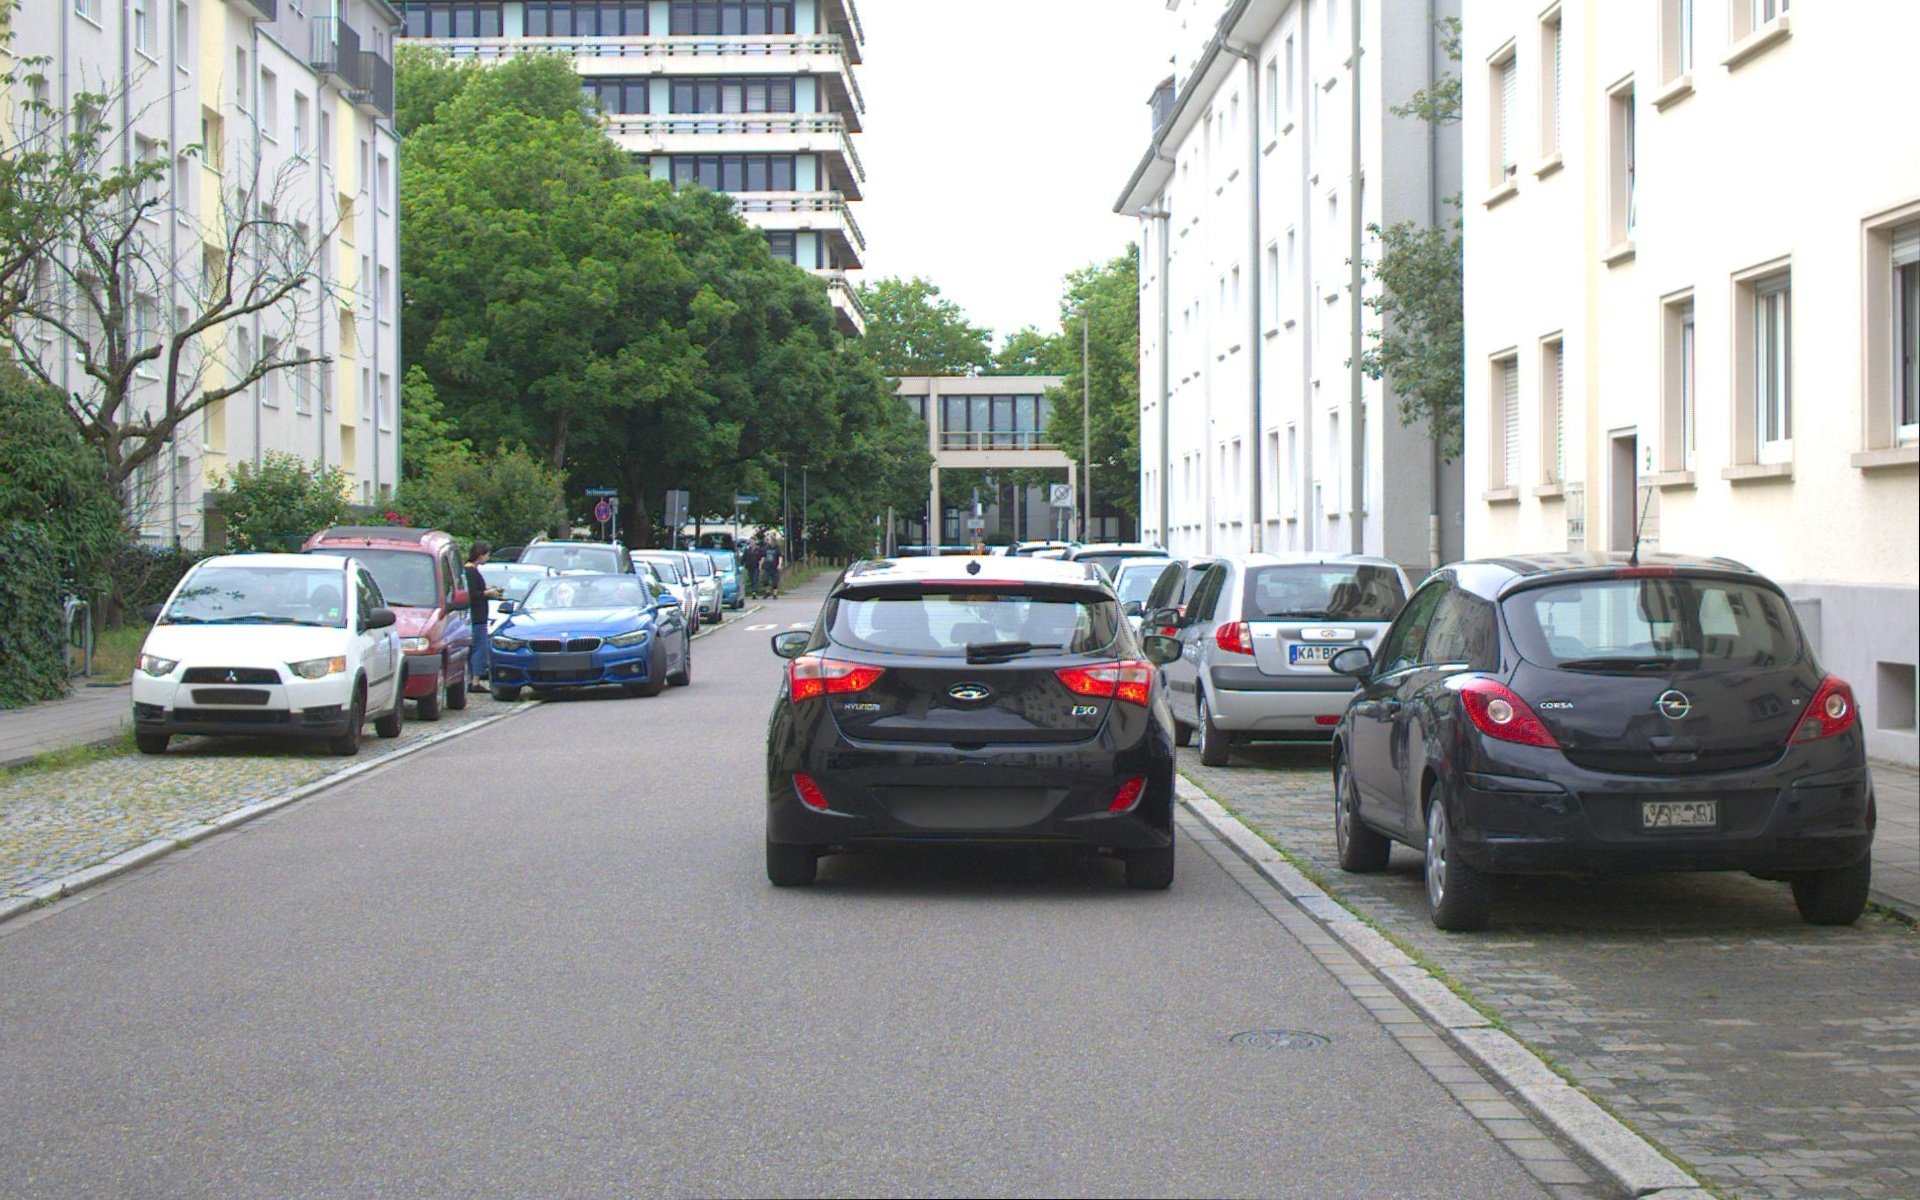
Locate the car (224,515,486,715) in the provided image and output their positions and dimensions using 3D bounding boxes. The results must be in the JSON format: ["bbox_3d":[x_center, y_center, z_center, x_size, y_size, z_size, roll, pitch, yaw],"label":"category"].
[{"bbox_3d":[-5.717,0.093,32.971,1.956,1.764,4.362,1,1,-3],"label":"car"}]

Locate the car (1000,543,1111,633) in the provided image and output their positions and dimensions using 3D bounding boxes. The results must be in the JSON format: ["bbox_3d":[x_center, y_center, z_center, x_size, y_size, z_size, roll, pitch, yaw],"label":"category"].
[{"bbox_3d":[1.646,-0.226,60.521,1.820,1.498,4.091,-1,1,0],"label":"car"}]

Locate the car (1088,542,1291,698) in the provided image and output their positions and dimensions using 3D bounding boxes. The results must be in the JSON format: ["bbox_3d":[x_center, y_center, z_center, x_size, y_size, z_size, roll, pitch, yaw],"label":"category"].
[{"bbox_3d":[2.287,0.156,35.257,1.725,1.471,4.505,0,1,-1],"label":"car"}]

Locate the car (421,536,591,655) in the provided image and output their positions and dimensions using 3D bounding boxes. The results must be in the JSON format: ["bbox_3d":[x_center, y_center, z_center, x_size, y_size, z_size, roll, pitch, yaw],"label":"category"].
[{"bbox_3d":[-5.848,-0.093,44.630,1.744,1.459,3.786,0,1,-1],"label":"car"}]

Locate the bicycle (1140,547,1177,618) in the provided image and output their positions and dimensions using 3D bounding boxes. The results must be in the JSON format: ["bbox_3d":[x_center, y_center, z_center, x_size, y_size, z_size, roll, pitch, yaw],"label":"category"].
[{"bbox_3d":[3.404,-0.305,58.811,0.530,1.171,2.036,-1,1,5],"label":"bicycle"}]

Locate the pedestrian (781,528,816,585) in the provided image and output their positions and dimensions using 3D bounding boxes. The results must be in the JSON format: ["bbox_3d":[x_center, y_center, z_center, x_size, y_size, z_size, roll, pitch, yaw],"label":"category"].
[{"bbox_3d":[-4.746,-1.281,101.218,0.972,1.648,0.981,0,1,0],"label":"pedestrian"}]

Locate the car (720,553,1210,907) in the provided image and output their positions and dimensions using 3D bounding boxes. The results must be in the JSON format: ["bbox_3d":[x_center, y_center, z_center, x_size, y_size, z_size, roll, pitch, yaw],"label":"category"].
[{"bbox_3d":[0.166,0.511,16.267,1.903,1.428,4.232,0,1,6],"label":"car"}]

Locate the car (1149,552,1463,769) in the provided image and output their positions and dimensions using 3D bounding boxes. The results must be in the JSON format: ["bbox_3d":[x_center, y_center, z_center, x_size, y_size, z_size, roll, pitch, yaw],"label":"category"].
[{"bbox_3d":[2.427,0.379,25.012,1.848,1.445,3.833,0,1,-1],"label":"car"}]

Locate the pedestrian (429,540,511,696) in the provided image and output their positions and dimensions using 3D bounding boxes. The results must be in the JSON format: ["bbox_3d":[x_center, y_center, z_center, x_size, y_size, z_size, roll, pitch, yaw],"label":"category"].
[{"bbox_3d":[-5.437,0.187,38.129,0.740,1.696,0.796,-1,1,-18],"label":"pedestrian"}]

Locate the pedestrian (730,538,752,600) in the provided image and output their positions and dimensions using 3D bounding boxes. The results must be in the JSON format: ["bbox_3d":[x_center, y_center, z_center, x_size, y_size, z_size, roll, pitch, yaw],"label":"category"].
[{"bbox_3d":[-6.451,-0.918,101.430,0.605,1.825,0.675,0,1,1],"label":"pedestrian"}]

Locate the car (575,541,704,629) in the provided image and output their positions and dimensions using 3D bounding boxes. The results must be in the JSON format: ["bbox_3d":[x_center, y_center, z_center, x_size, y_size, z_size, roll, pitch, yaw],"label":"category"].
[{"bbox_3d":[-5.704,-0.294,61.647,1.895,1.447,4.521,2,1,-1],"label":"car"}]

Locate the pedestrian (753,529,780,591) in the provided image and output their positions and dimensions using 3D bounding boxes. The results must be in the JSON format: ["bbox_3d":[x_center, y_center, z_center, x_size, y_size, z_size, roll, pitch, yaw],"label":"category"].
[{"bbox_3d":[-5.699,-1.186,101.298,0.714,1.825,0.797,0,1,1],"label":"pedestrian"}]

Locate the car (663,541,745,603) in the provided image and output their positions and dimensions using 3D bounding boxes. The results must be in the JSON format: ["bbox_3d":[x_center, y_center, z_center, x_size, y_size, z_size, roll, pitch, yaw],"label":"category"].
[{"bbox_3d":[-6.555,-0.742,88.440,1.993,1.536,4.001,1,1,-3],"label":"car"}]

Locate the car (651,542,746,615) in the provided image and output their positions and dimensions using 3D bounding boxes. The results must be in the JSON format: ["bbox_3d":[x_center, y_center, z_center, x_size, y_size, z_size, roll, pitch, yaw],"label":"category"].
[{"bbox_3d":[-5.771,-0.492,76.146,1.993,1.536,4.001,1,1,-3],"label":"car"}]

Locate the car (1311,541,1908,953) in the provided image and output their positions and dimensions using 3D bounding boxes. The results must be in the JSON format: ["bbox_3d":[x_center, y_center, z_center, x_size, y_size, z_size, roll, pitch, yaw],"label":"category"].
[{"bbox_3d":[2.627,0.512,14.816,1.725,1.512,4.061,0,1,-1],"label":"car"}]

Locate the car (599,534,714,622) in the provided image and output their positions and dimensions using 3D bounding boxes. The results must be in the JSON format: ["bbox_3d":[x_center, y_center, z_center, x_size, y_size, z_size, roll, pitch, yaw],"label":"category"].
[{"bbox_3d":[-5.947,-0.458,67.816,1.895,1.593,4.521,2,1,-1],"label":"car"}]

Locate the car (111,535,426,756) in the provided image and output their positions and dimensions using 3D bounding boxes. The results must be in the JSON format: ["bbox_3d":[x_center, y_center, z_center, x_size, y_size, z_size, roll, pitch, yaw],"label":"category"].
[{"bbox_3d":[-5.370,0.301,27.139,1.720,1.564,3.870,2,1,-1],"label":"car"}]

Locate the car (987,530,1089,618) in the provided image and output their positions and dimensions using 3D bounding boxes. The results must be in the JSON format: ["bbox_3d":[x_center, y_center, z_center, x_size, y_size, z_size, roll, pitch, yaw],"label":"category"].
[{"bbox_3d":[1.452,-0.518,65.323,1.820,1.597,4.091,0,1,0],"label":"car"}]

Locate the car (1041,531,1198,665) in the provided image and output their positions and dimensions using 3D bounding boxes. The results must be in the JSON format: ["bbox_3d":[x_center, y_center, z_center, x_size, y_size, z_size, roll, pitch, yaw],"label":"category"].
[{"bbox_3d":[2.014,-0.061,44.385,1.820,1.636,4.091,0,1,0],"label":"car"}]

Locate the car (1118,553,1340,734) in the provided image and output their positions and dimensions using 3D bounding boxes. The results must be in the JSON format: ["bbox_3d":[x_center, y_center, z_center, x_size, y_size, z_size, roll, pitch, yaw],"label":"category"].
[{"bbox_3d":[2.323,0.335,30.500,1.603,1.471,3.869,1,1,-1],"label":"car"}]

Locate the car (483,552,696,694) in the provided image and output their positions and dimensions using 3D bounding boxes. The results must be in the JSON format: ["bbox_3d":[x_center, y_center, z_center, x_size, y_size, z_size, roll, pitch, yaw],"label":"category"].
[{"bbox_3d":[-4.044,0.212,38.185,1.845,1.446,4.501,0,1,0],"label":"car"}]
